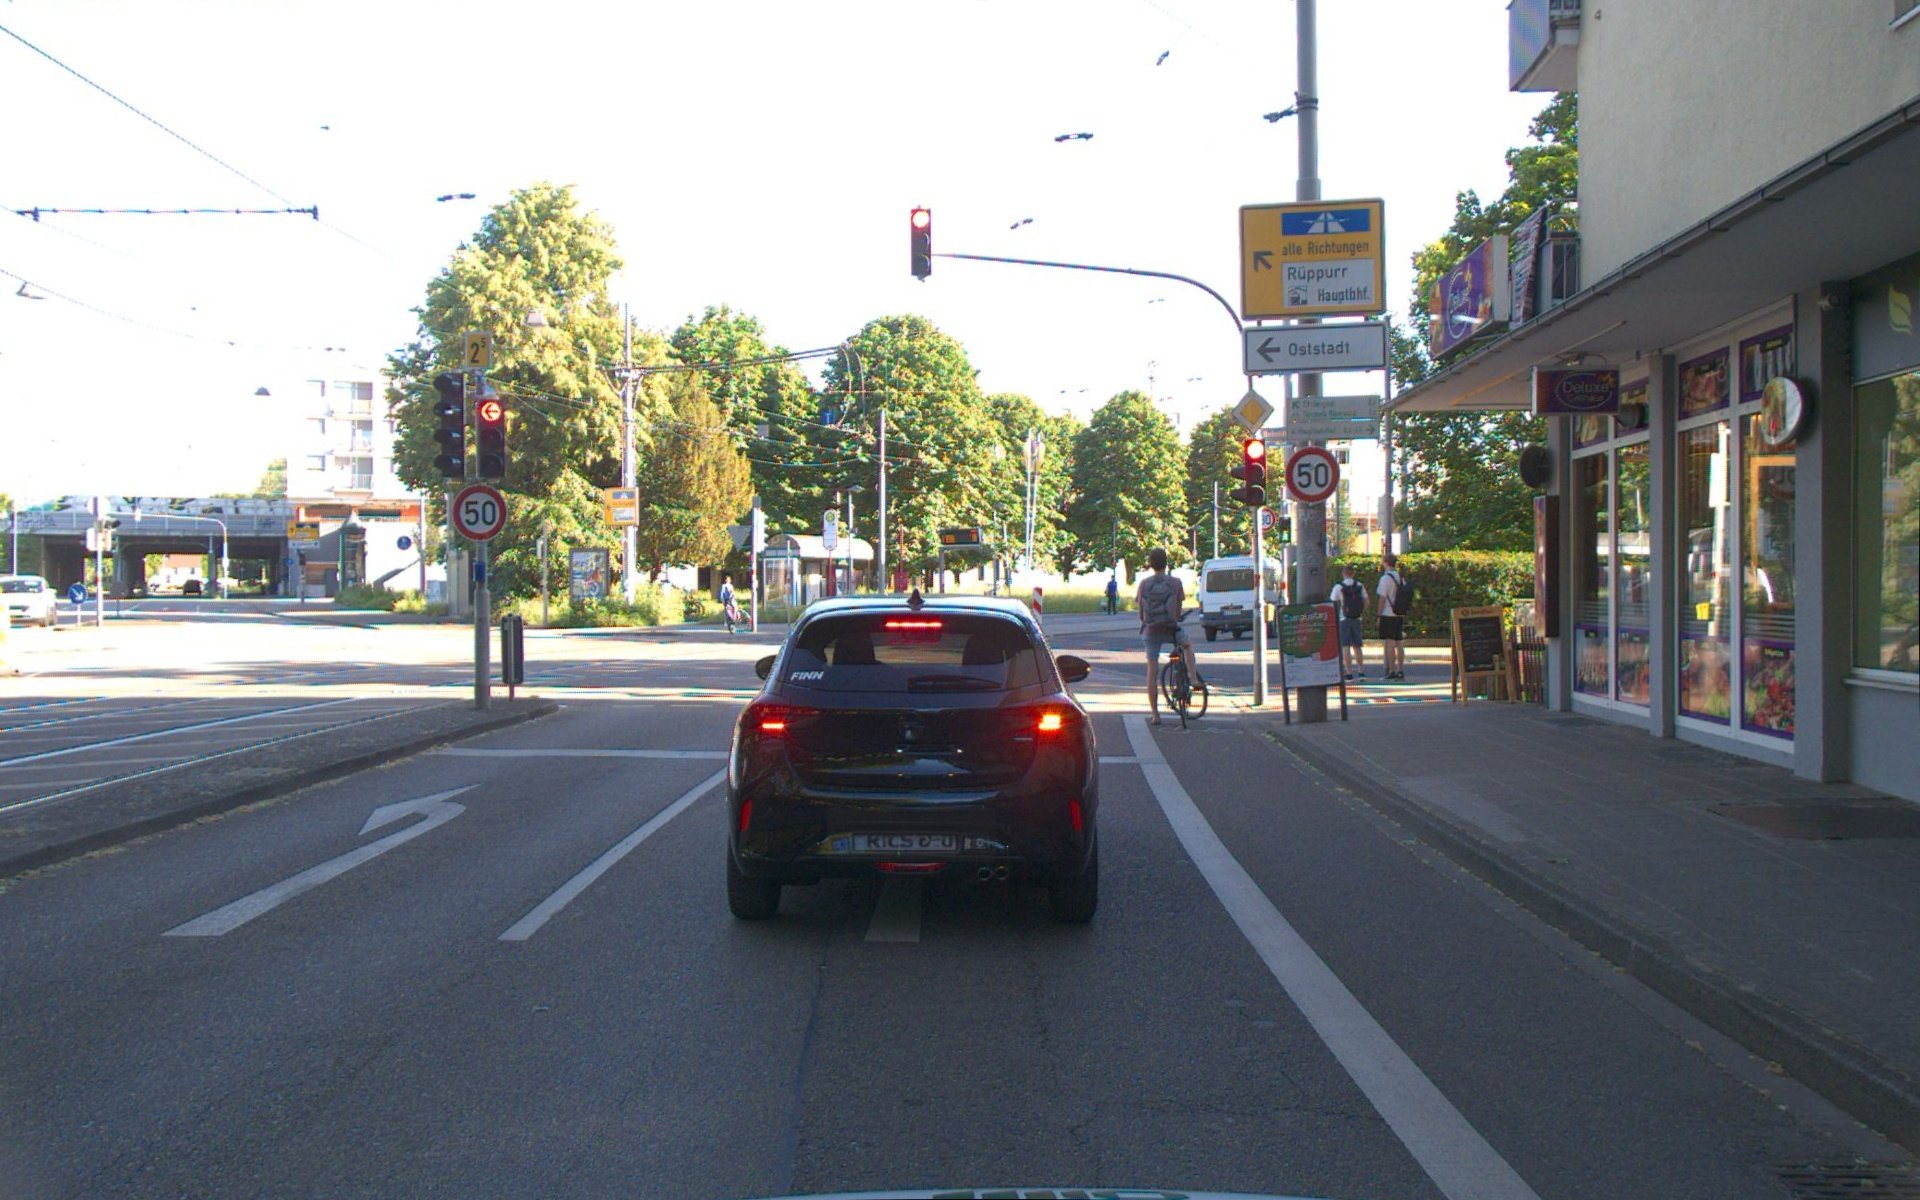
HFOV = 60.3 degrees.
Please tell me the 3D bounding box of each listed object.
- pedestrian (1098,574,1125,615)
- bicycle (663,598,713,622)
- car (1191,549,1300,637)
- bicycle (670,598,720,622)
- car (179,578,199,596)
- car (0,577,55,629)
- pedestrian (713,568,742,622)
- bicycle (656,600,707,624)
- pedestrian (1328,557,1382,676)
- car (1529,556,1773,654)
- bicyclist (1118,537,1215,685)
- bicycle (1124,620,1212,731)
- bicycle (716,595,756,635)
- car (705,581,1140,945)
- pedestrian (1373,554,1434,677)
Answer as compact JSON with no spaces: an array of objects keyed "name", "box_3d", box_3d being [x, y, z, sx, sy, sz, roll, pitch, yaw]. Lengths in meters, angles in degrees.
[{"name":"pedestrian","box_3d":[6.843,-0.256,74.532,0.939,1.824,0.995,0,0,25]},{"name":"bicycle","box_3d":[-10.634,0.402,64.659,1.837,0.922,0.660,0,0,6]},{"name":"car","box_3d":[8.029,-0.178,46.151,2.047,2.317,4.304,1,0,23]},{"name":"bicycle","box_3d":[-10.501,0.408,65.532,1.837,0.922,0.660,0,0,6]},{"name":"car","box_3d":[-89.865,-1.498,192.657,1.970,2.049,3.965,1,0,-27]},{"name":"car","box_3d":[-31.428,0.070,55.119,1.974,1.660,4.580,-1,1,-32]},{"name":"pedestrian","box_3d":[-7.355,-0.163,52.388,0.691,1.722,0.720,-1,0,-31]},{"name":"bicycle","box_3d":[-10.714,0.458,63.673,1.837,0.922,0.660,0,0,6]},{"name":"pedestrian","box_3d":[6.109,0.250,25.593,0.684,1.823,0.617,0,0,-1]},{"name":"car","box_3d":[13.542,0.126,32.641,4.087,1.846,1.807,0,-2,8]},{"name":"bicyclist","box_3d":[2.214,0.107,17.869,0.823,1.536,1.368,0,0,-3]},{"name":"bicycle","box_3d":[2.218,0.782,17.875,0.653,1.078,2.082,0,1,-1]},{"name":"bicycle","box_3d":[-6.285,0.403,46.534,0.808,1.078,1.883,0,1,2]},{"name":"car","box_3d":[-0.127,0.642,8.701,1.763,1.466,3.940,0,1,1]},{"name":"pedestrian","box_3d":[6.895,0.236,25.685,0.691,1.878,0.697,0,0,39]}]
